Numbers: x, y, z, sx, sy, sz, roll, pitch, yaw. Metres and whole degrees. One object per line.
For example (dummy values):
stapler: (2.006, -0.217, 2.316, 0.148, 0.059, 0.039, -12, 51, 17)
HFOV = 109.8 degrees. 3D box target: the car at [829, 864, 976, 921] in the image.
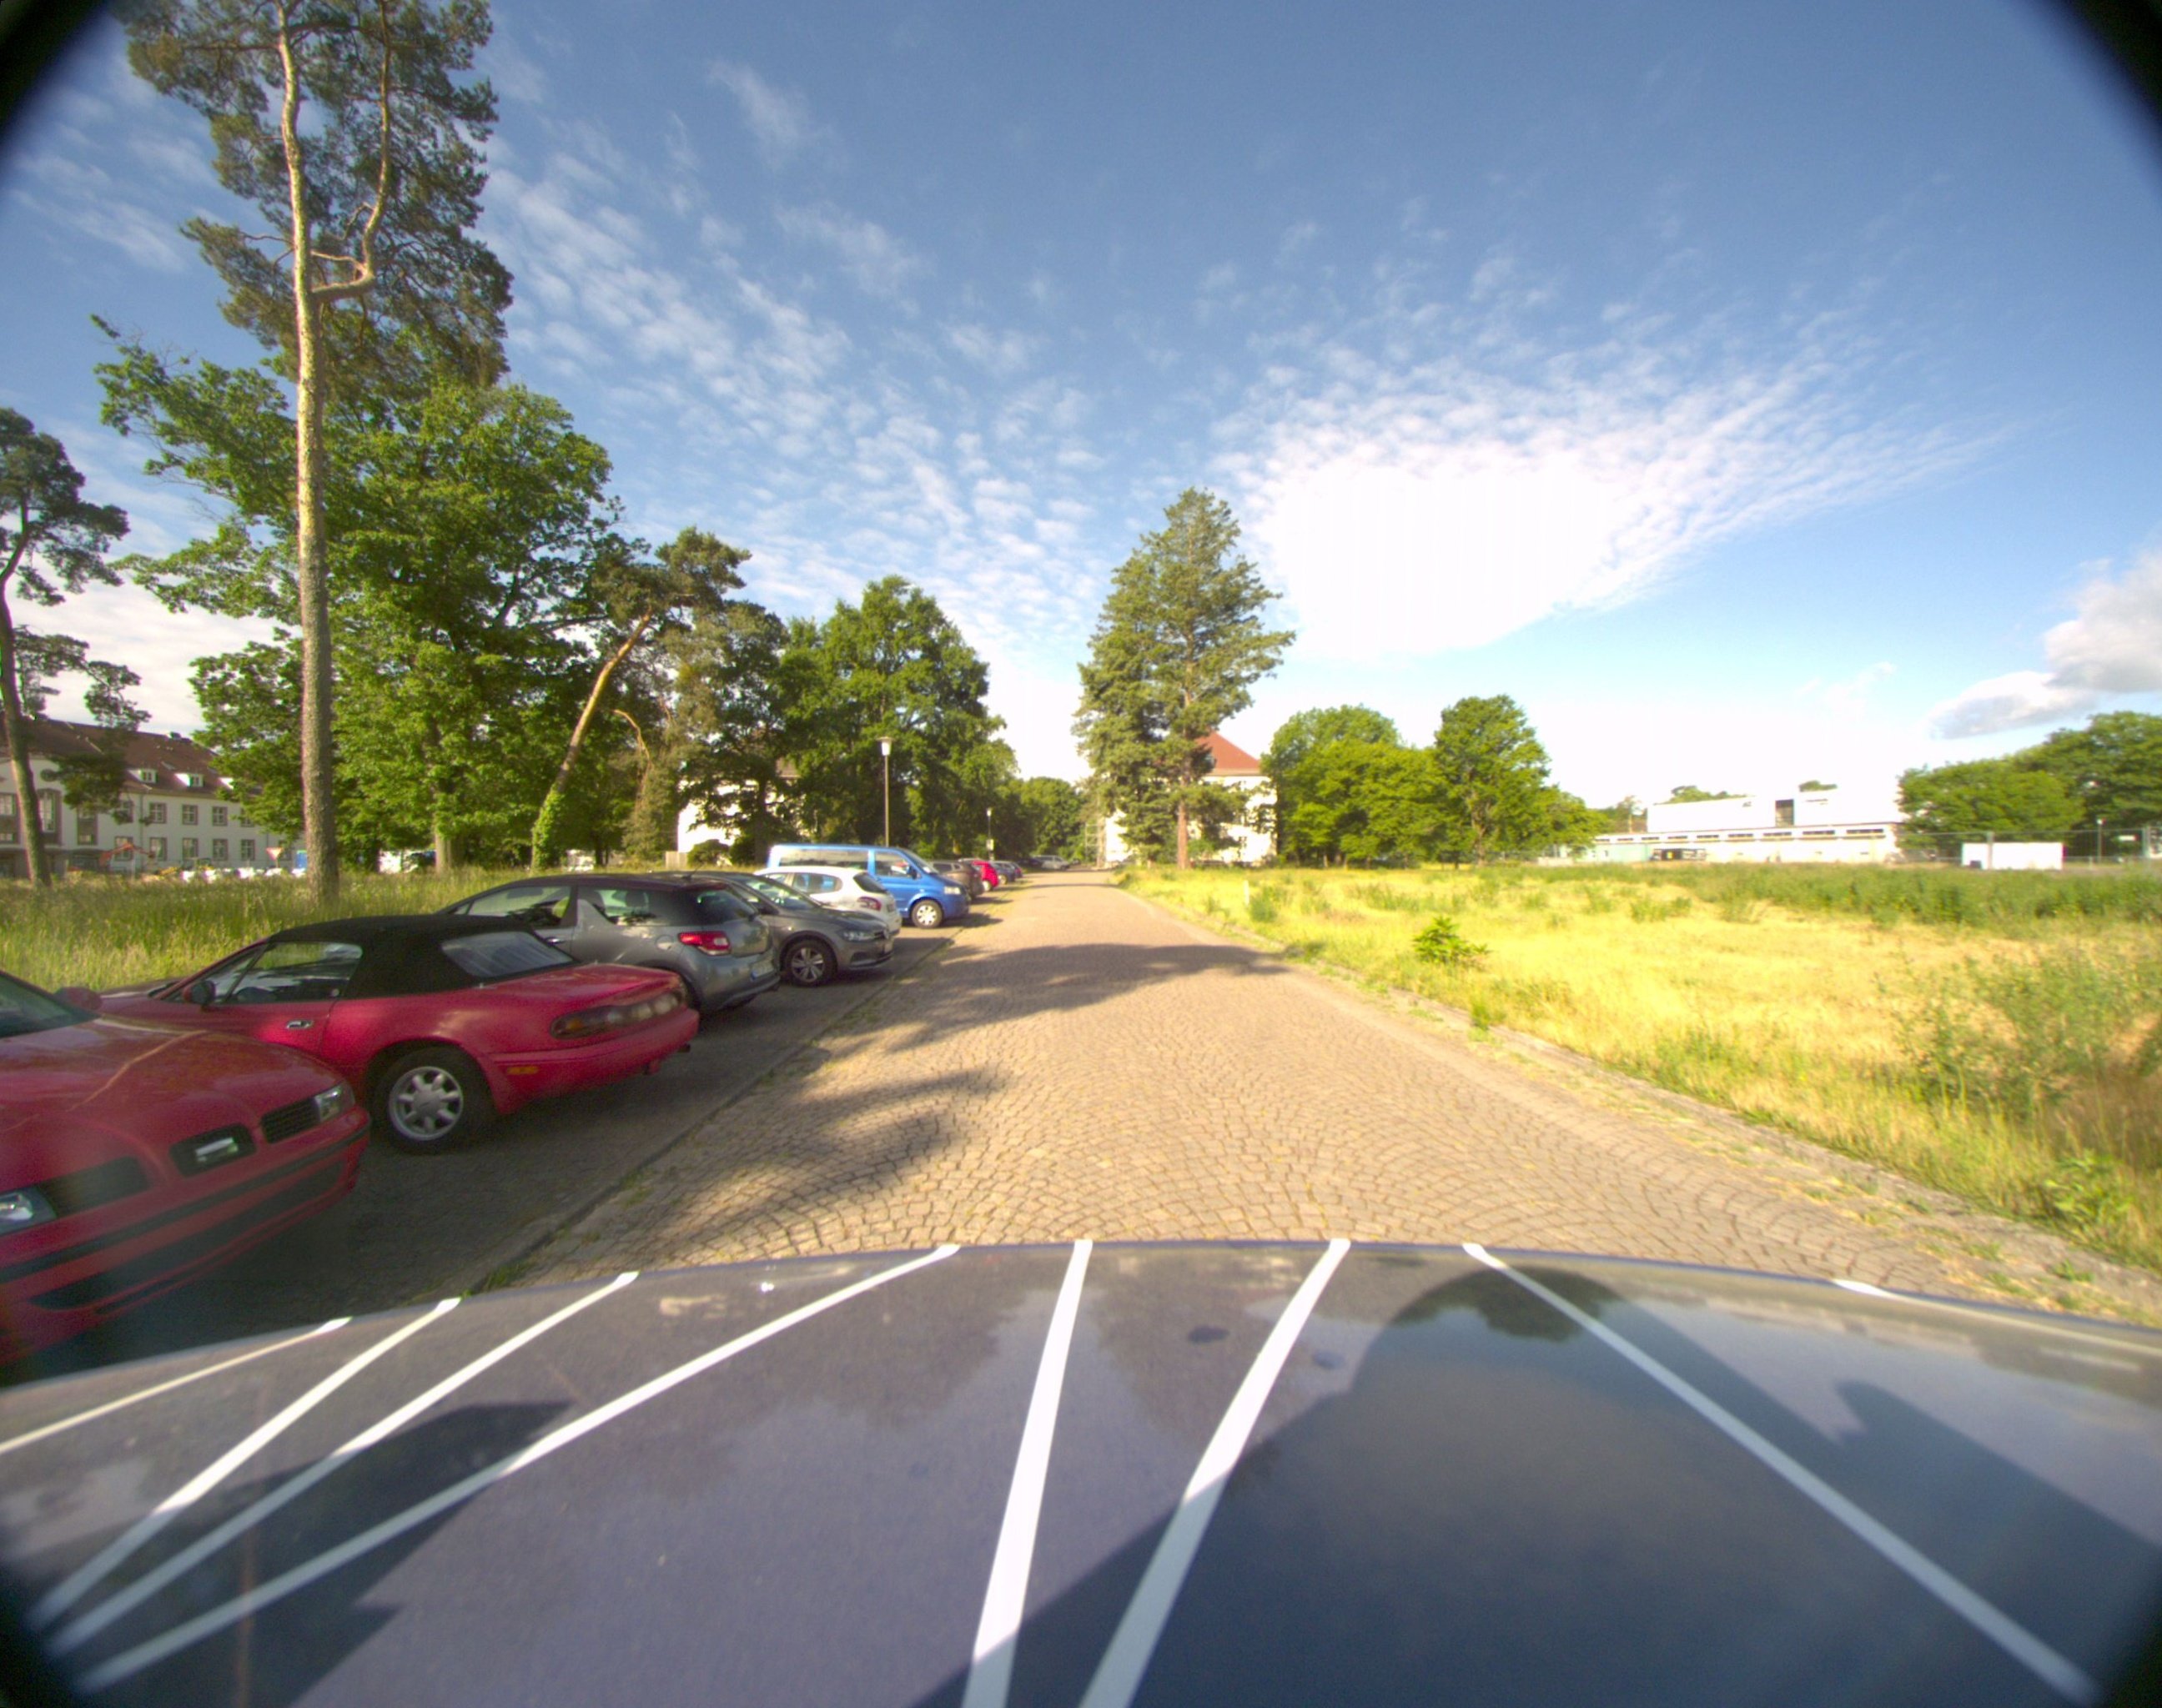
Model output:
car: (-4.868, 1.043, 21.096, 3.730, 1.458, 1.609, 1, 0, -4)

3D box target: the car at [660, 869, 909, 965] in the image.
car: (-4.991, 1.038, 13.144, 3.654, 1.483, 1.634, 0, 0, -1)

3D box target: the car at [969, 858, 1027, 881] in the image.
car: (-5.737, 1.071, 52.720, 3.810, 1.458, 1.747, -1, 0, -1)

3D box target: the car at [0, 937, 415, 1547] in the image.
car: (-4.804, 1.065, 2.324, 3.990, 1.440, 1.655, 0, 0, -2)

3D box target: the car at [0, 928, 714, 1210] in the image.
car: (-4.376, 1.177, 4.658, 3.470, 1.235, 1.536, -1, 0, -1)

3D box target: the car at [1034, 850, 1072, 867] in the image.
car: (-3.748, 0.613, 101.601, 4.995, 2.123, 2.164, -1, 0, -4)

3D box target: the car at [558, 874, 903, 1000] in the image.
car: (-4.496, 1.041, 10.175, 3.790, 1.442, 1.757, 1, 0, 0)

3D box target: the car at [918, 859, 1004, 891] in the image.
car: (-5.867, 1.028, 37.550, 3.998, 1.486, 1.540, -1, 0, -2)

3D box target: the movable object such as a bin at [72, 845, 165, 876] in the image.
movable object such as a bin: (-91.946, 0.597, 72.694, 2.178, 2.884, 5.075, 0, 0, 5)

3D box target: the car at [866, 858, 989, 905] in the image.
car: (-5.458, 0.963, 27.370, 4.118, 1.601, 1.785, 0, 0, -3)

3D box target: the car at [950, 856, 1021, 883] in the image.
car: (-5.943, 0.976, 47.839, 4.274, 1.589, 1.651, -1, 0, -2)

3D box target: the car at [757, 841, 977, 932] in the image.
car: (-5.047, 0.755, 18.460, 4.767, 2.002, 2.000, 1, 0, -1)

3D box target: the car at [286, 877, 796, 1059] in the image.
car: (-4.909, 1.011, 7.322, 3.673, 1.446, 1.666, 1, 0, -2)
